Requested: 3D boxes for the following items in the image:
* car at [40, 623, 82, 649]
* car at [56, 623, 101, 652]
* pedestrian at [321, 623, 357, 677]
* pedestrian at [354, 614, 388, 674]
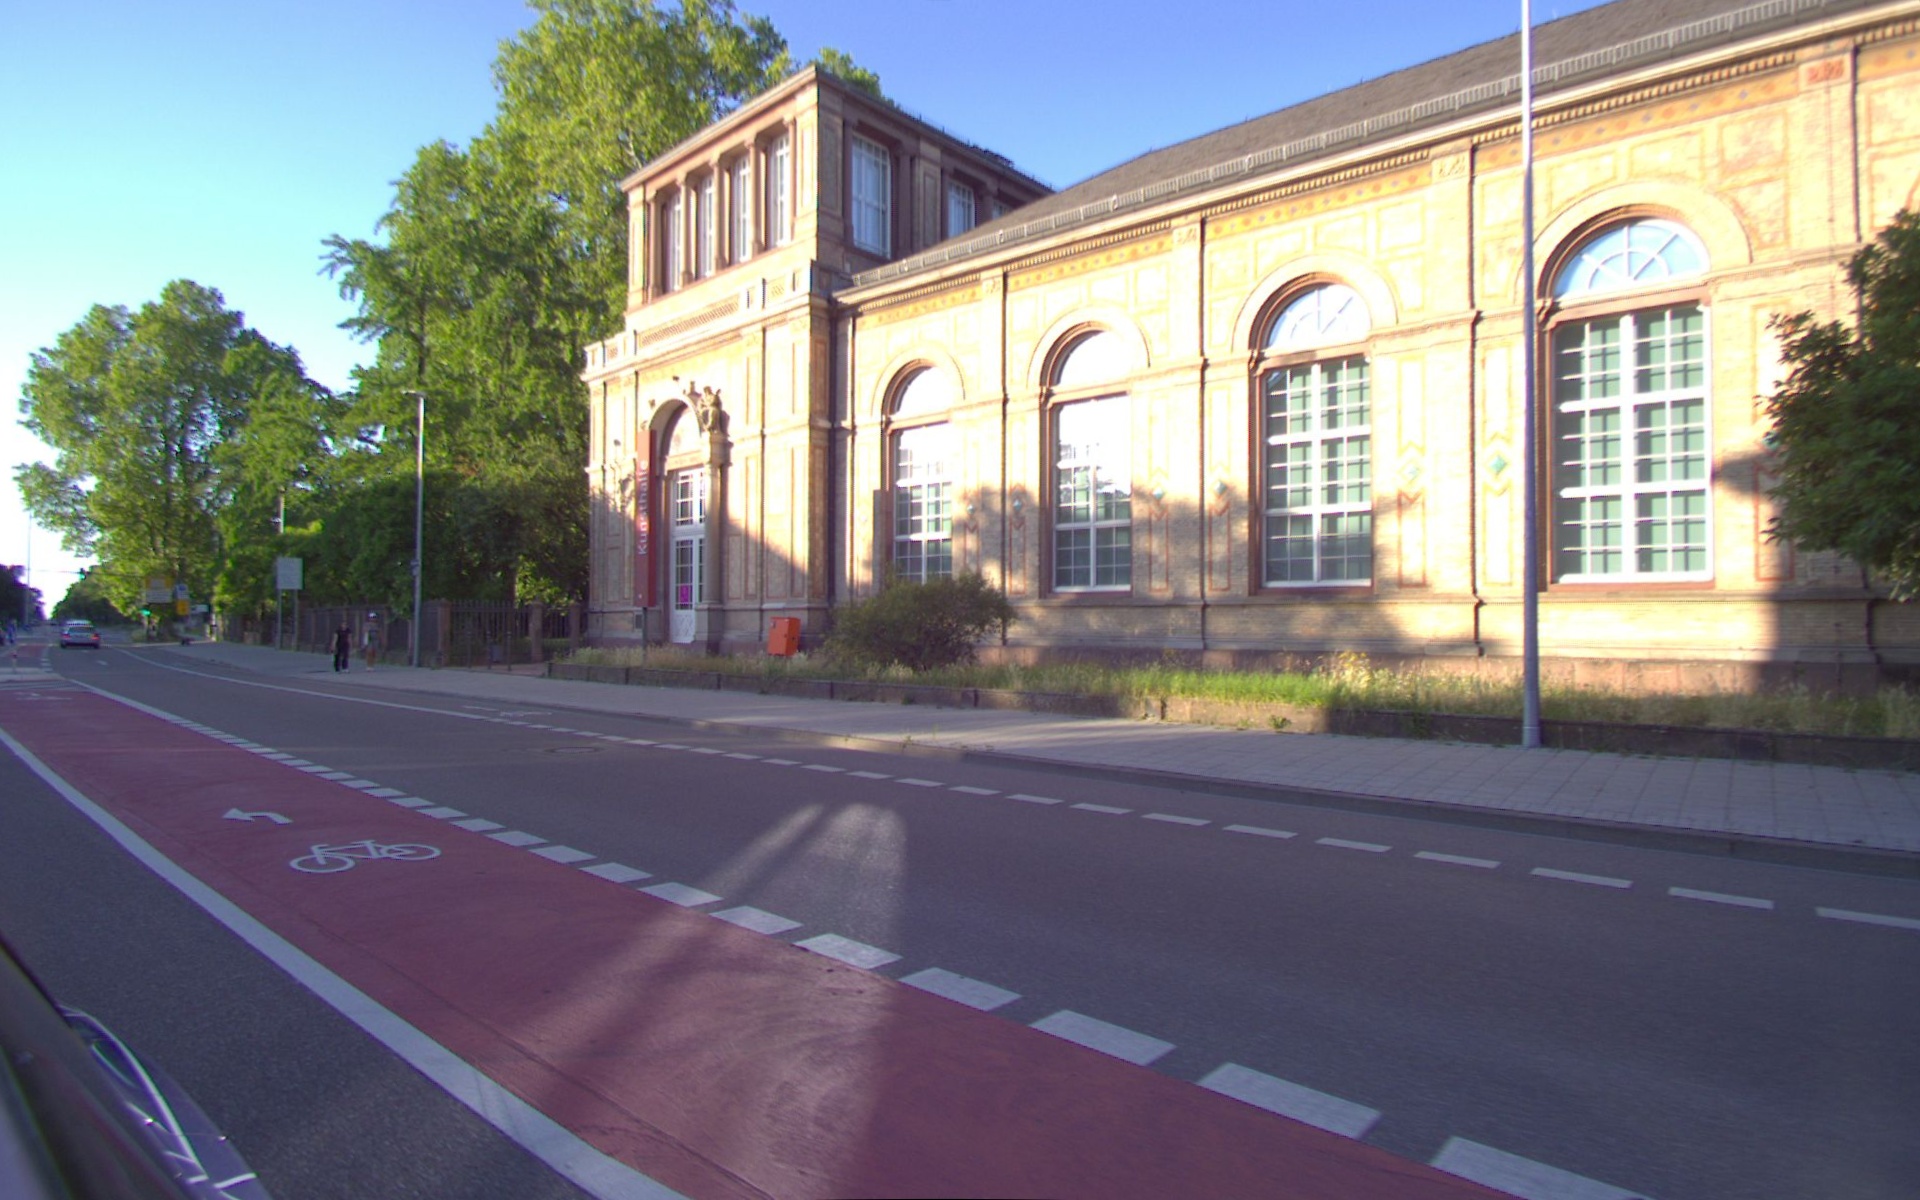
[{"bbox_3d":[-59.649,2.364,67.131,1.970,1.697,4.004,1,-2,-43],"label":"car"},{"bbox_3d":[-53.129,2.250,60.964,1.893,1.697,4.004,1,-2,-43],"label":"car"},{"bbox_3d":[-18.318,1.458,29.856,0.666,1.524,0.836,-4,2,-43],"label":"pedestrian"},{"bbox_3d":[-17.612,1.302,30.277,0.795,1.751,0.852,0,-2,-25],"label":"pedestrian"}]
